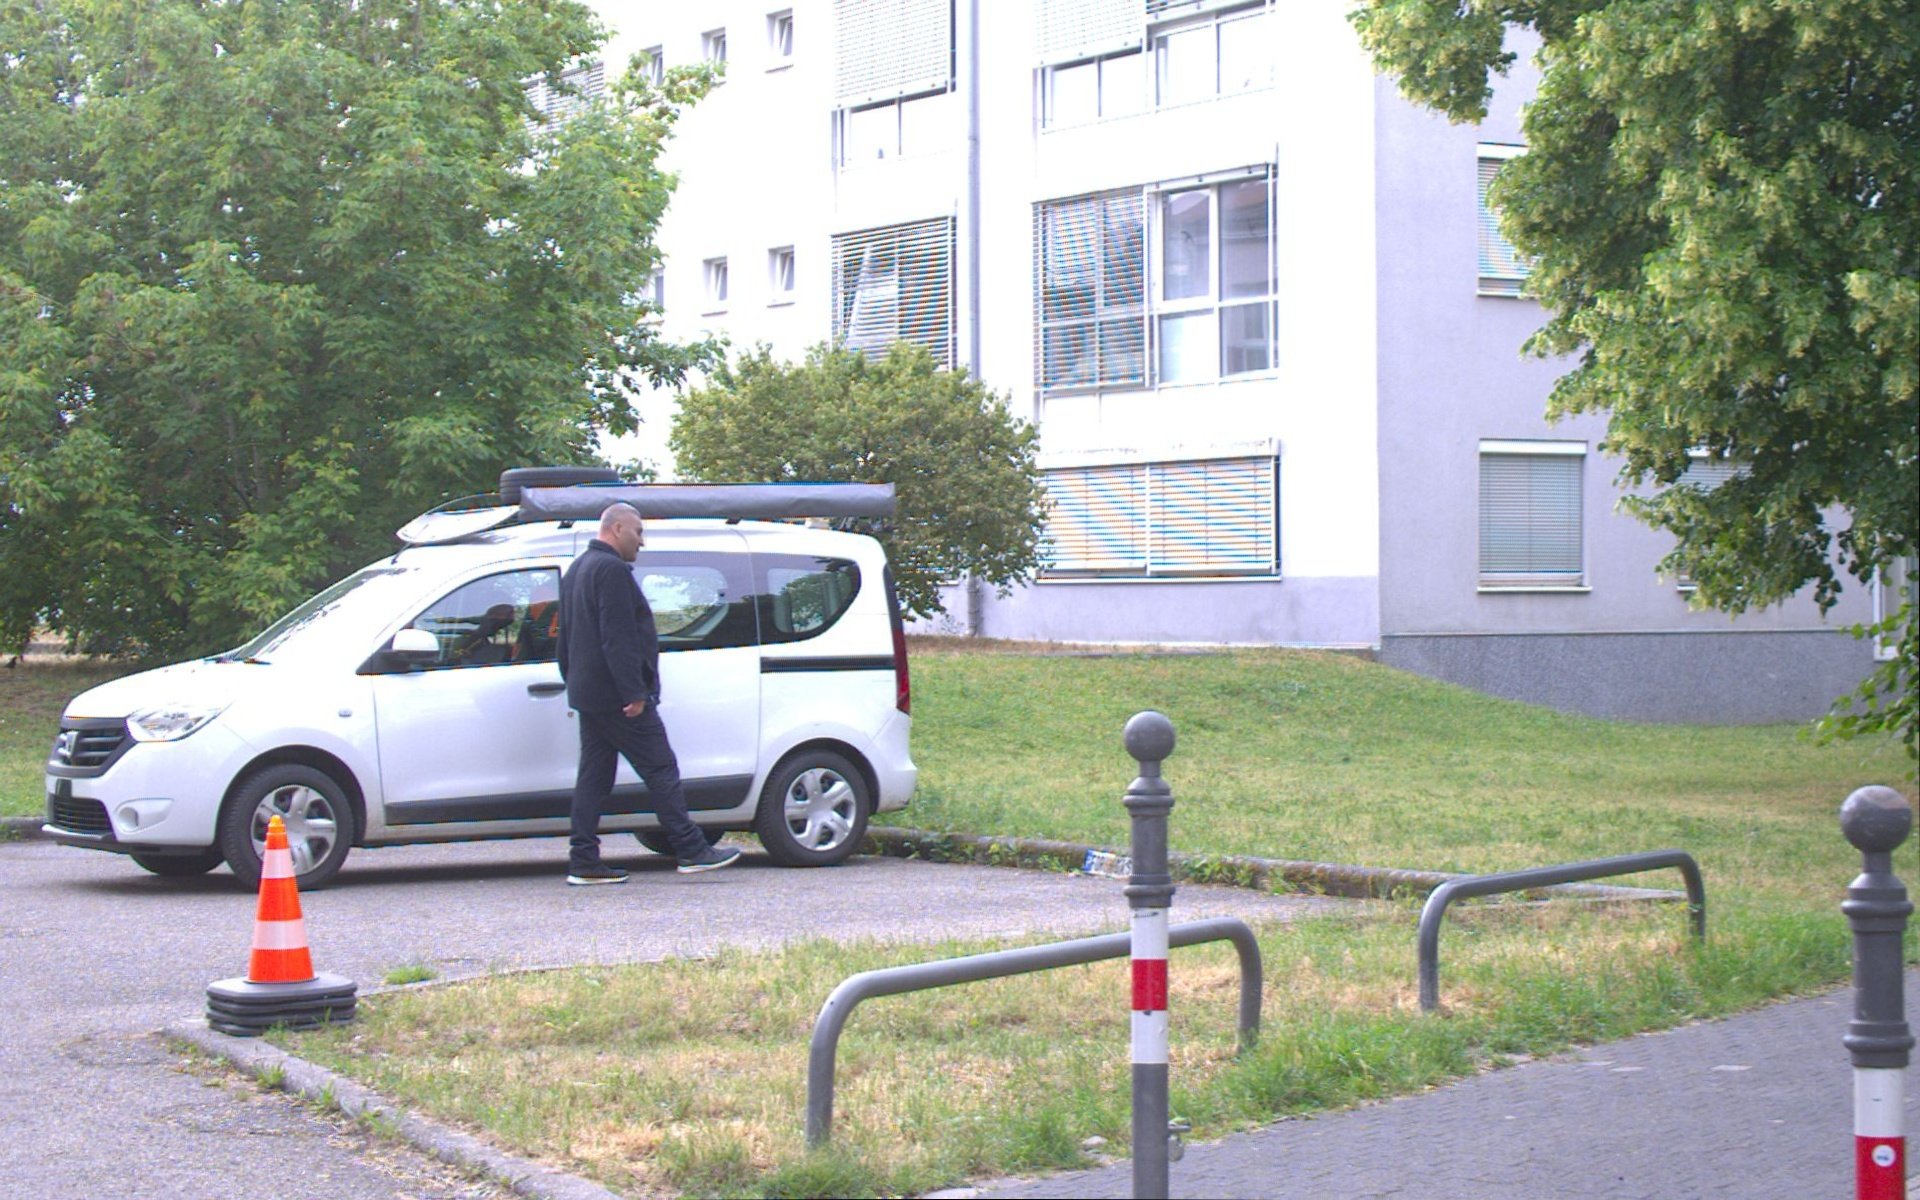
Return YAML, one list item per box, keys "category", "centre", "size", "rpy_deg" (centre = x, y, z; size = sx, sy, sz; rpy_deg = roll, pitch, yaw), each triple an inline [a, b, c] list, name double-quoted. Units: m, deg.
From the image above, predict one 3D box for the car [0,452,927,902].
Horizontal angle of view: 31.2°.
- category: "car"
  centre: [-2.495, 0.357, 17.291]
  size: [4.337, 2.007, 1.854]
  rpy_deg: [0, -1, -33]

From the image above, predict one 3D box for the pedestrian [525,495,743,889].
- category: "pedestrian"
  centre: [-1.541, 0.425, 16.228]
  size: [0.754, 1.803, 0.698]
  rpy_deg: [0, -1, -33]
